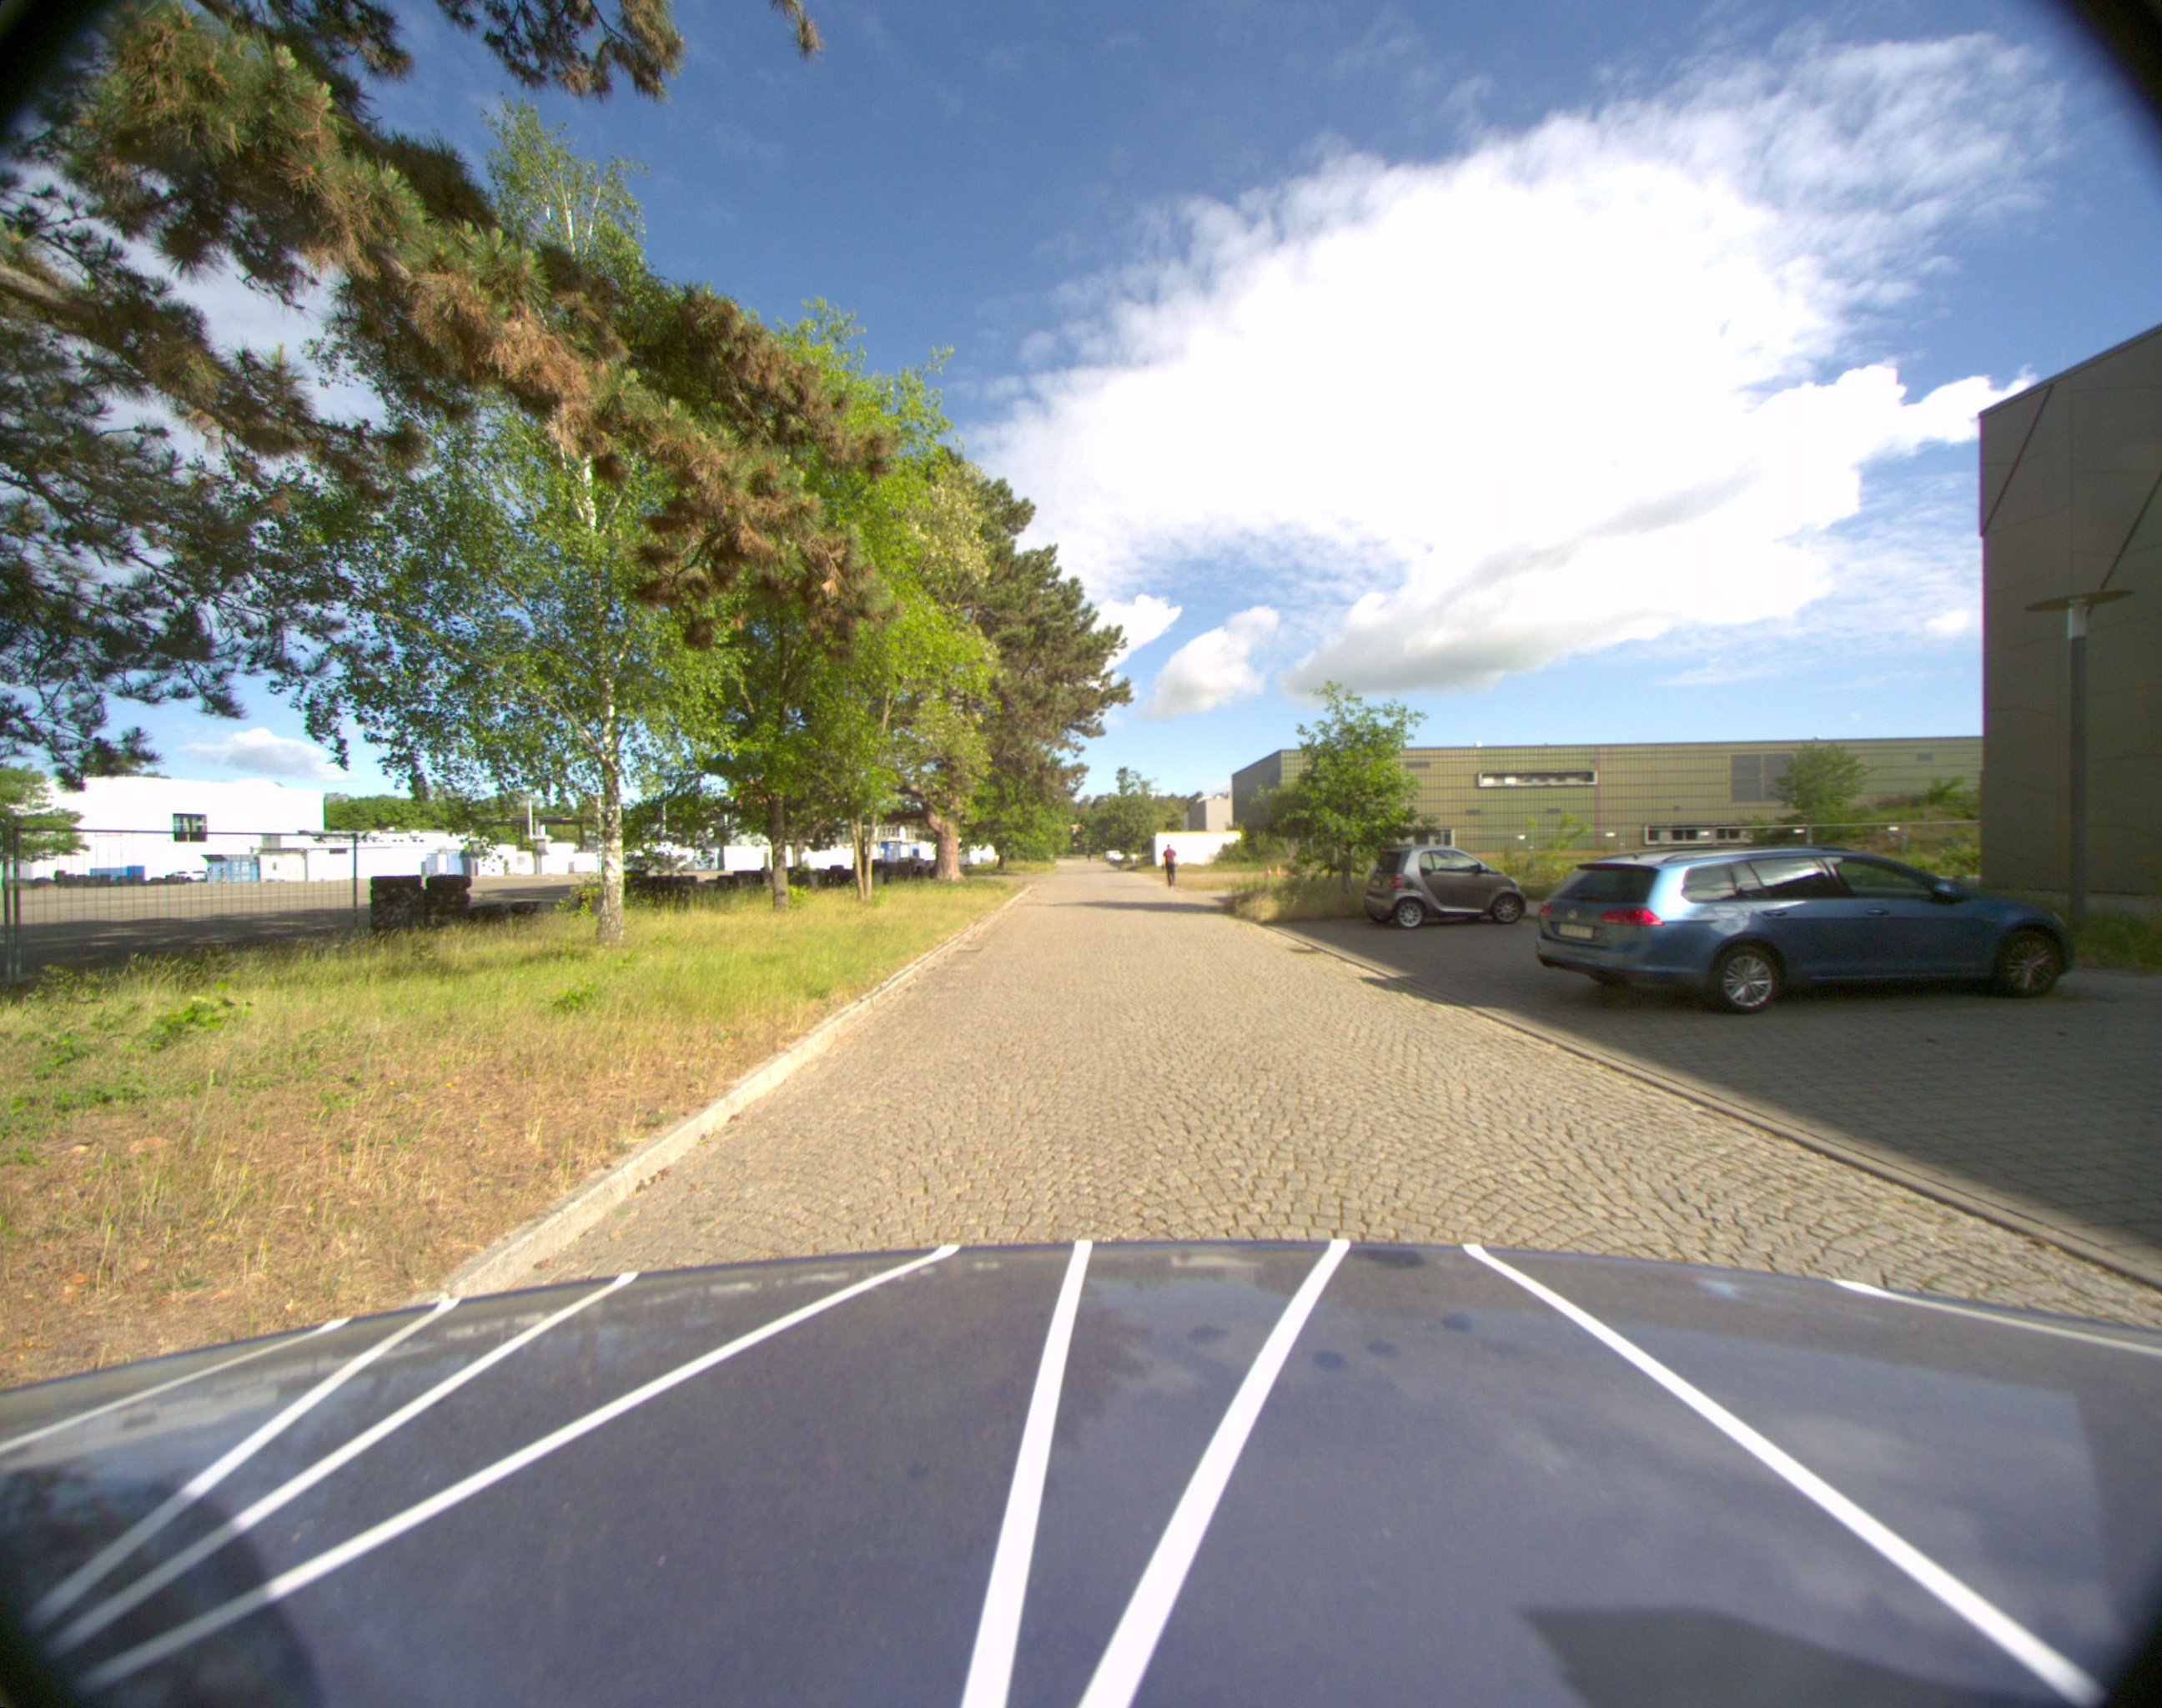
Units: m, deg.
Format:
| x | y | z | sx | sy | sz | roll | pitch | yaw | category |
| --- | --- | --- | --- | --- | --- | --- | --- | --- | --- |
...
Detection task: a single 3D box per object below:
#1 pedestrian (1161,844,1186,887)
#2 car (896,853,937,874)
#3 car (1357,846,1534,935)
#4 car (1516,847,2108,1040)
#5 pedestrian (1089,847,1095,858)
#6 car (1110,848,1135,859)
| x | y | z | sx | sy | sz | roll | pitch | yaw | category |
| --- | --- | --- | --- | --- | --- | --- | --- | --- | --- |
| 3.824 | 0.472 | 31.581 | 0.806 | 1.761 | 1.152 | -1 | 1 | -4 | pedestrian |
| -12.279 | 0.669 | 57.049 | 1.846 | 1.440 | 4.001 | -1 | 1 | 6 | car |
| 7.067 | 0.675 | 14.905 | 2.706 | 1.533 | 1.518 | -3 | 1 | -1 | car |
| 6.906 | 0.772 | 7.478 | 4.268 | 1.455 | 1.680 | -3 | 1 | -2 | car |
| 1.731 | -0.217 | 119.637 | 0.908 | 1.797 | 0.983 | -1 | 1 | -7 | pedestrian |
| 6.631 | -0.156 | 122.199 | 3.996 | 1.678 | 2.000 | -1 | 1 | 3 | car |
